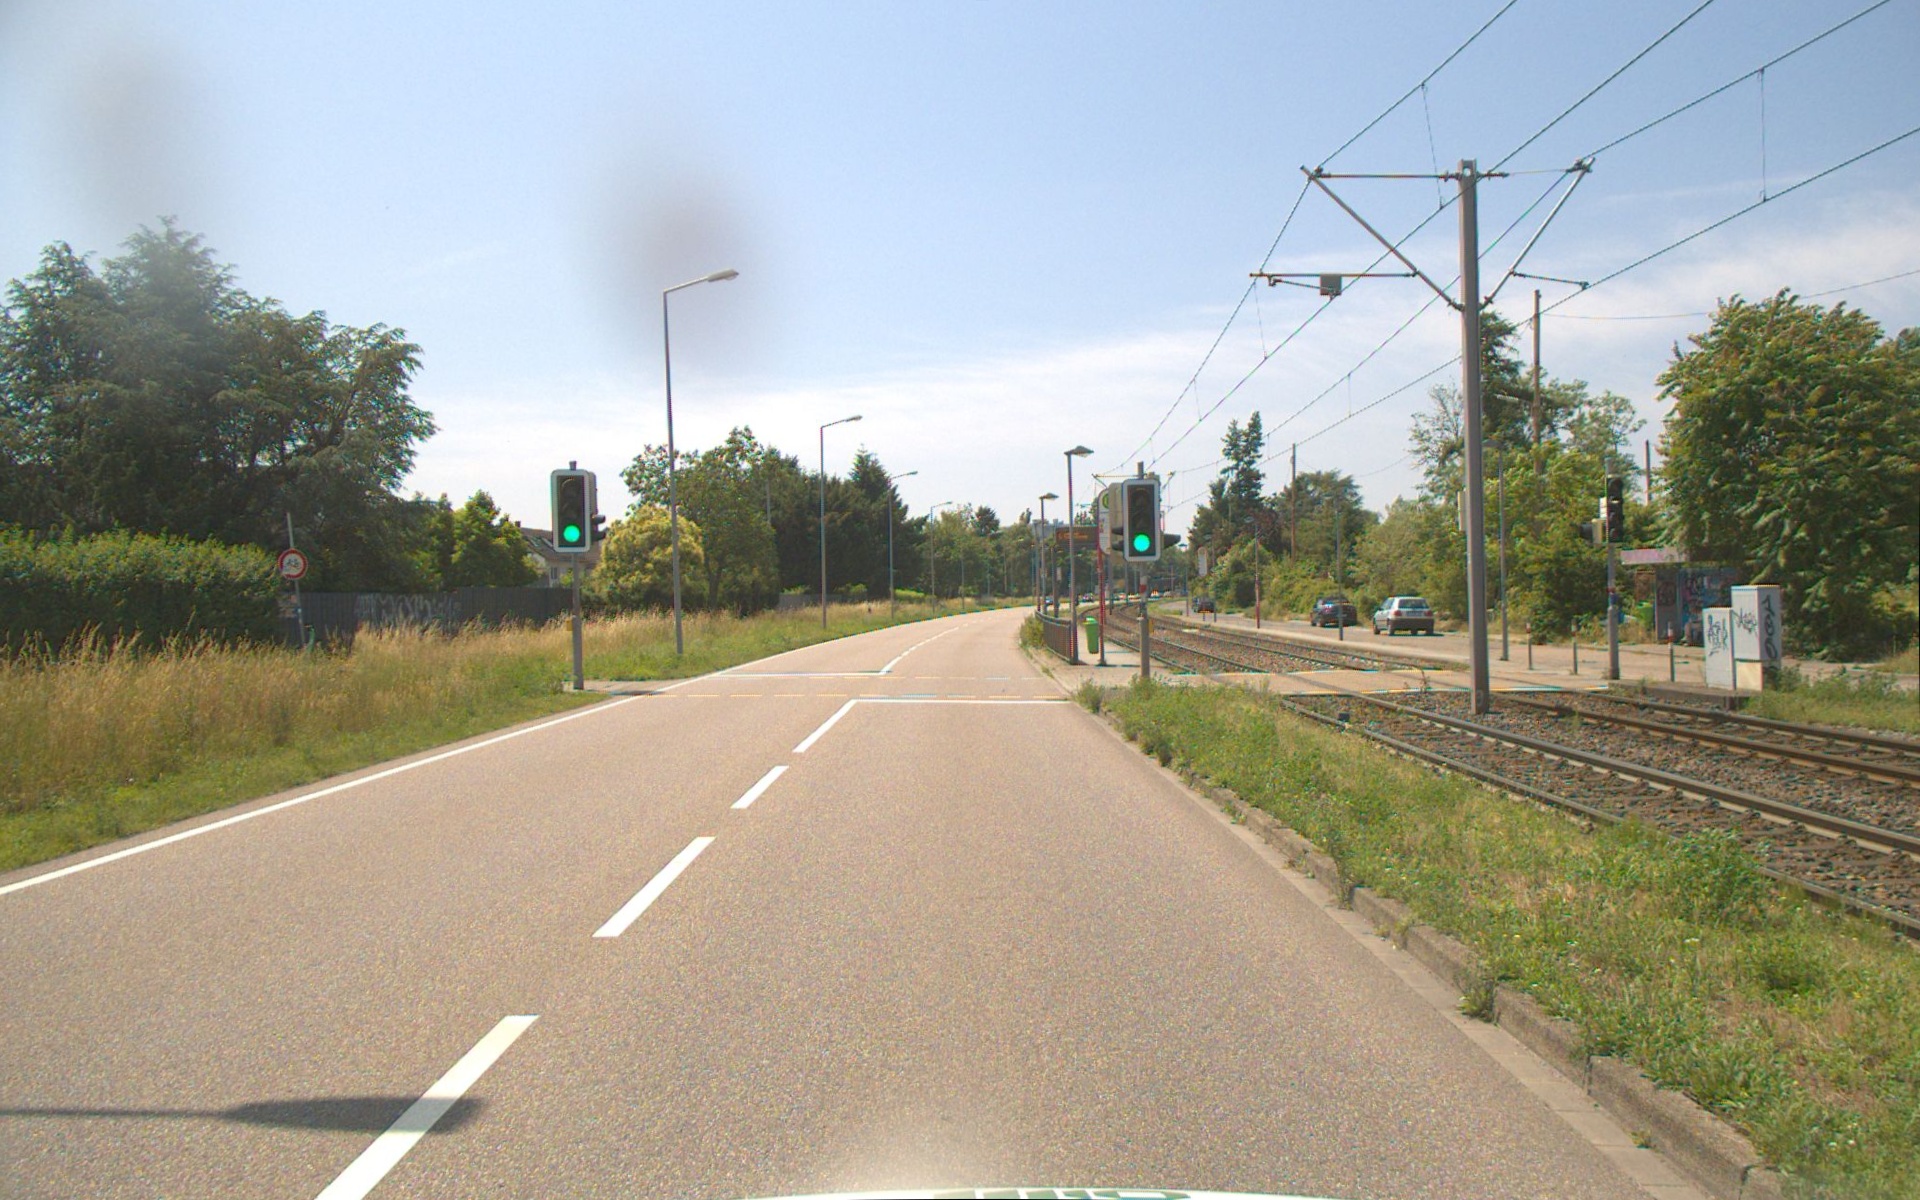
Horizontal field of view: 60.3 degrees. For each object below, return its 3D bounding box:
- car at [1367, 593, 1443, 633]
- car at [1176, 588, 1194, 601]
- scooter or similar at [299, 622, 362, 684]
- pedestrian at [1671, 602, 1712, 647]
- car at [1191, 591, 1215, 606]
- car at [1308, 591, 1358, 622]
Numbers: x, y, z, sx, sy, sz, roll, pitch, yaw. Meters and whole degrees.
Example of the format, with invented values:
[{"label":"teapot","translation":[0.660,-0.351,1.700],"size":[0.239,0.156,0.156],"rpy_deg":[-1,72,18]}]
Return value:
[{"label":"car","translation":[16.707,0.457,62.291],"size":[1.899,1.447,4.001],"rpy_deg":[0,0,2]},{"label":"car","translation":[24.995,-0.595,184.152],"size":[1.873,1.496,4.003],"rpy_deg":[0,0,6]},{"label":"scooter or similar","translation":[-12.198,1.025,32.052],"size":[0.999,1.147,0.647],"rpy_deg":[-2,0,-10]},{"label":"pedestrian","translation":[18.627,0.621,42.122],"size":[0.791,1.106,0.719],"rpy_deg":[-1,0,9]},{"label":"car","translation":[22.140,-0.147,150.859],"size":[1.822,1.353,4.517],"rpy_deg":[0,0,4]},{"label":"car","translation":[18.262,0.316,81.126],"size":[1.586,1.447,4.875],"rpy_deg":[0,0,3]}]
